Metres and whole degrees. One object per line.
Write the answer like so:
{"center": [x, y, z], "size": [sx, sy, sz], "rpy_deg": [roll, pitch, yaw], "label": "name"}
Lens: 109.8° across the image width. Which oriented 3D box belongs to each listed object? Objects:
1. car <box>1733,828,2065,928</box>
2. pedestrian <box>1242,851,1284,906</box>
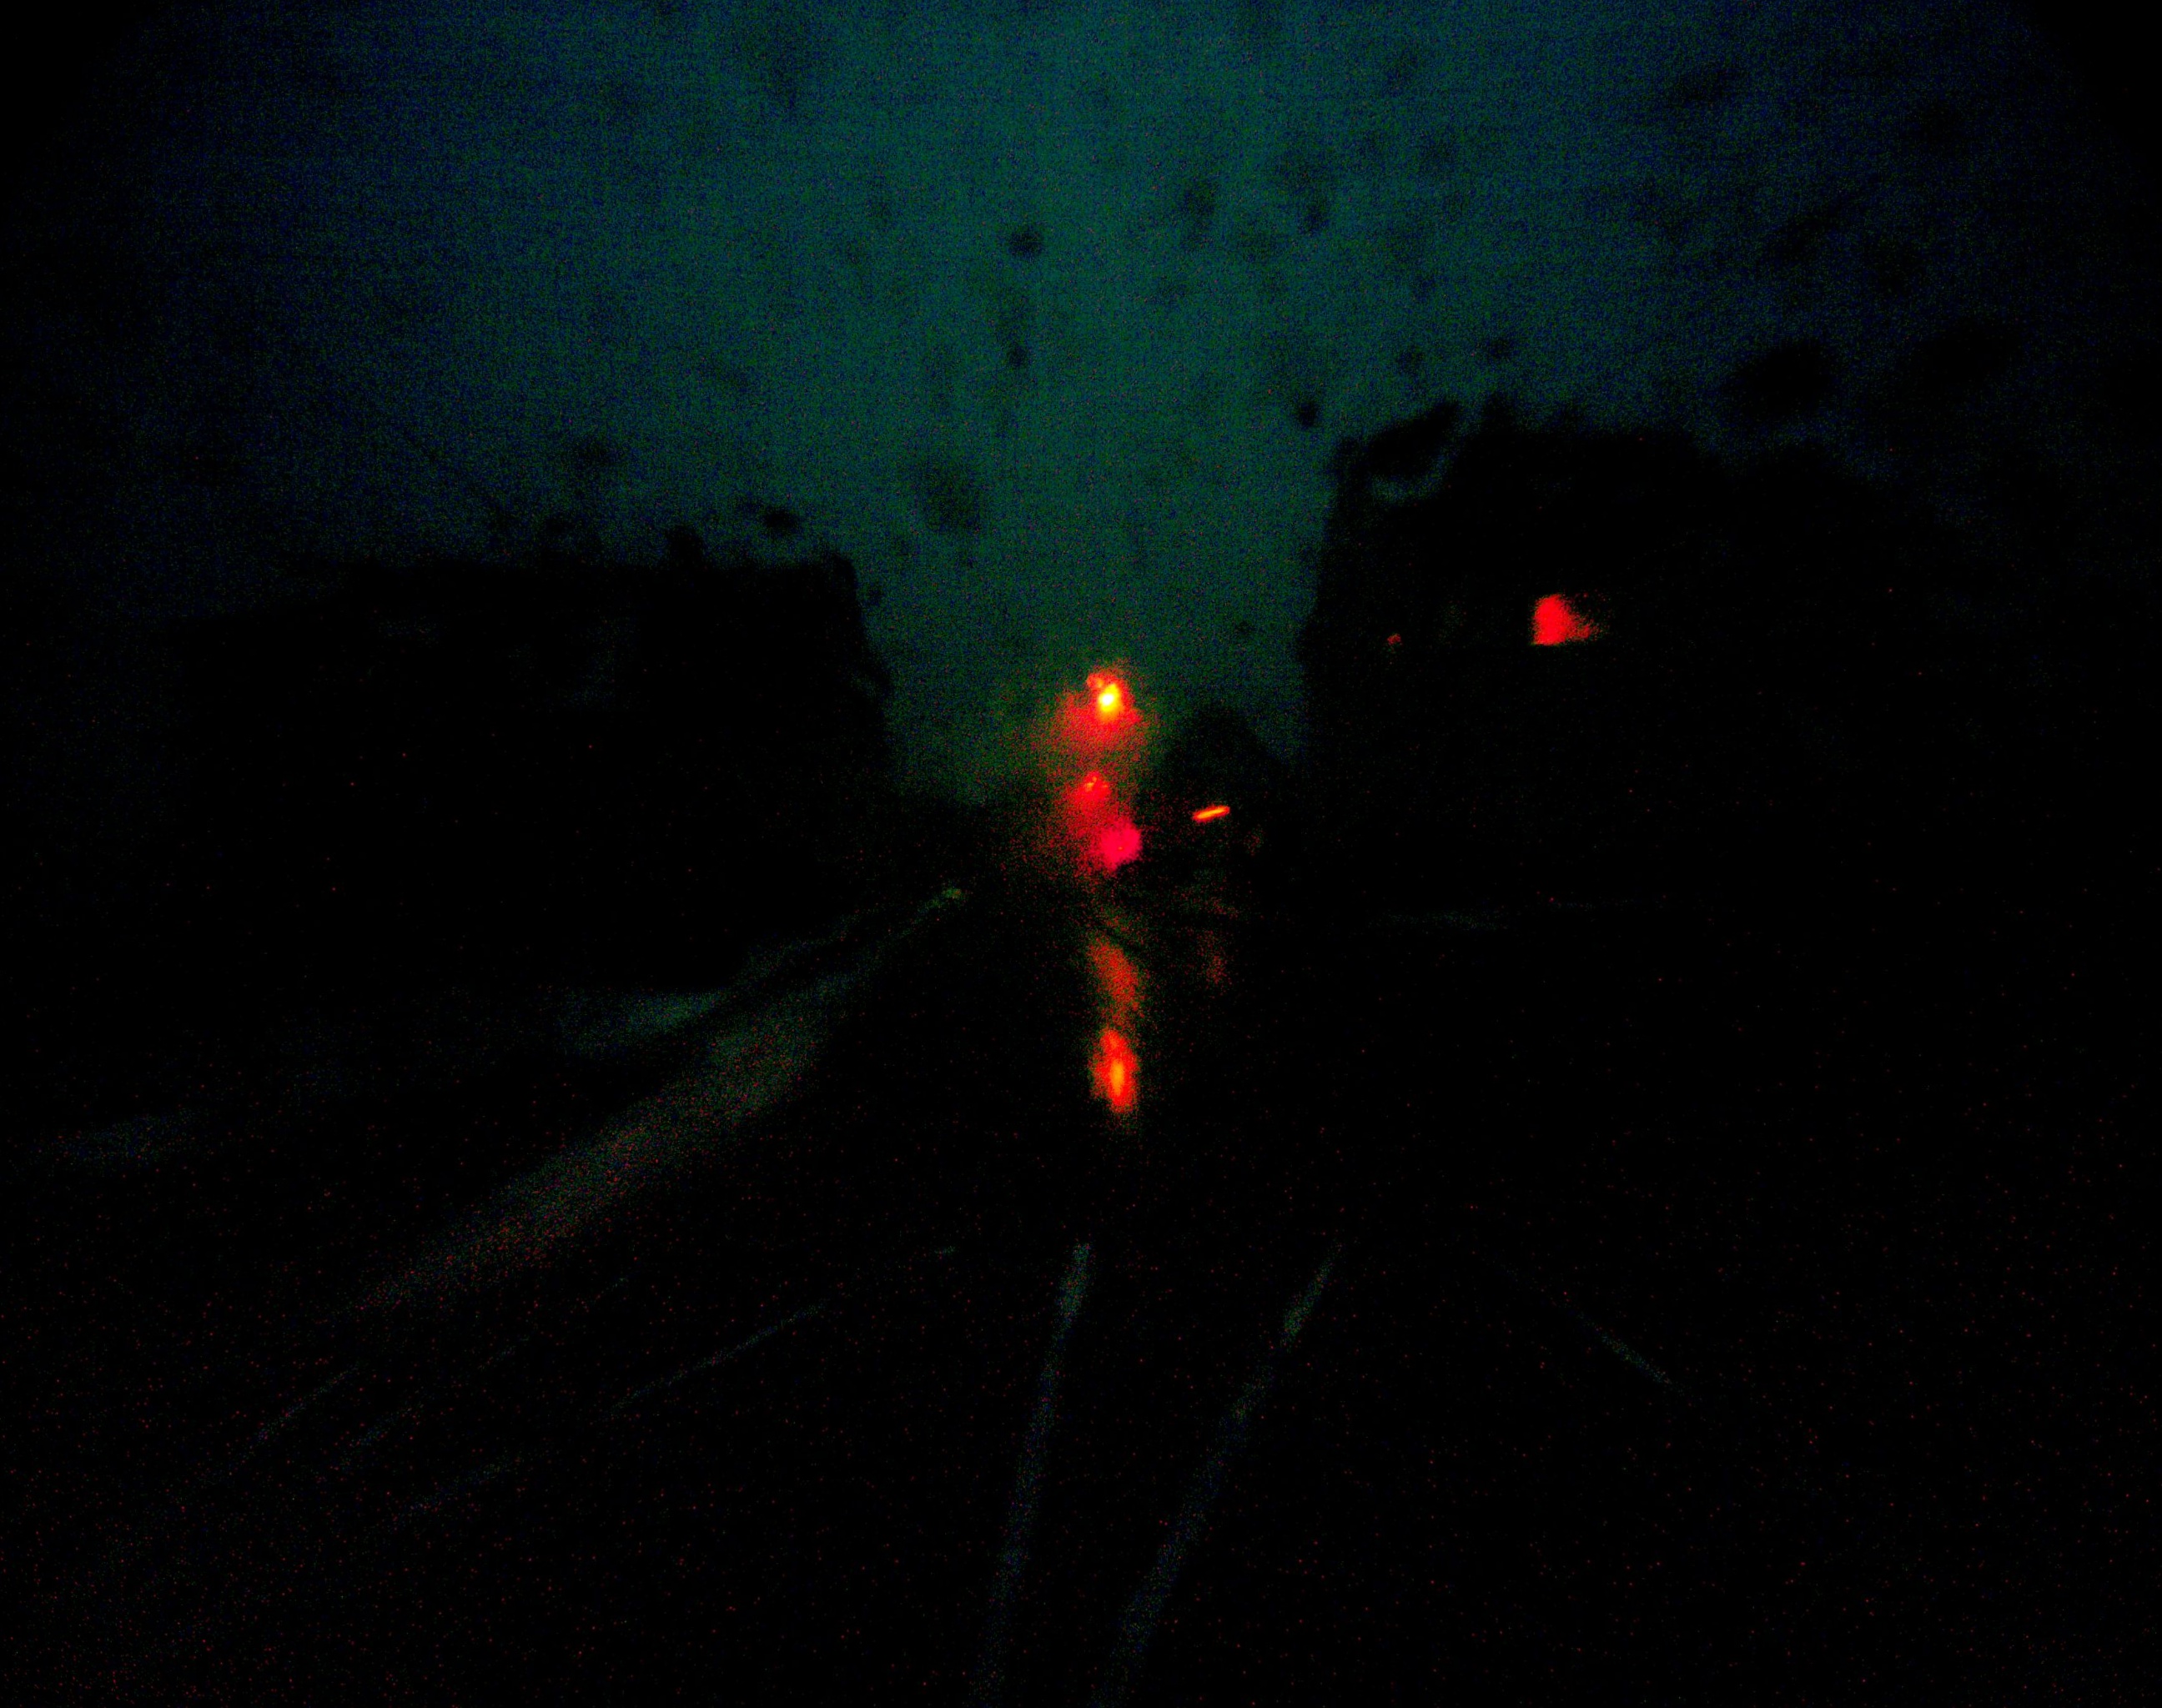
{"center": [13.450, 0.372, 12.652], "size": [3.785, 1.365, 1.626], "rpy_deg": [-3, 1, -1], "label": "car"}
{"center": [4.584, 0.603, 19.165], "size": [0.810, 1.321, 0.660], "rpy_deg": [-3, 1, -4], "label": "pedestrian"}
